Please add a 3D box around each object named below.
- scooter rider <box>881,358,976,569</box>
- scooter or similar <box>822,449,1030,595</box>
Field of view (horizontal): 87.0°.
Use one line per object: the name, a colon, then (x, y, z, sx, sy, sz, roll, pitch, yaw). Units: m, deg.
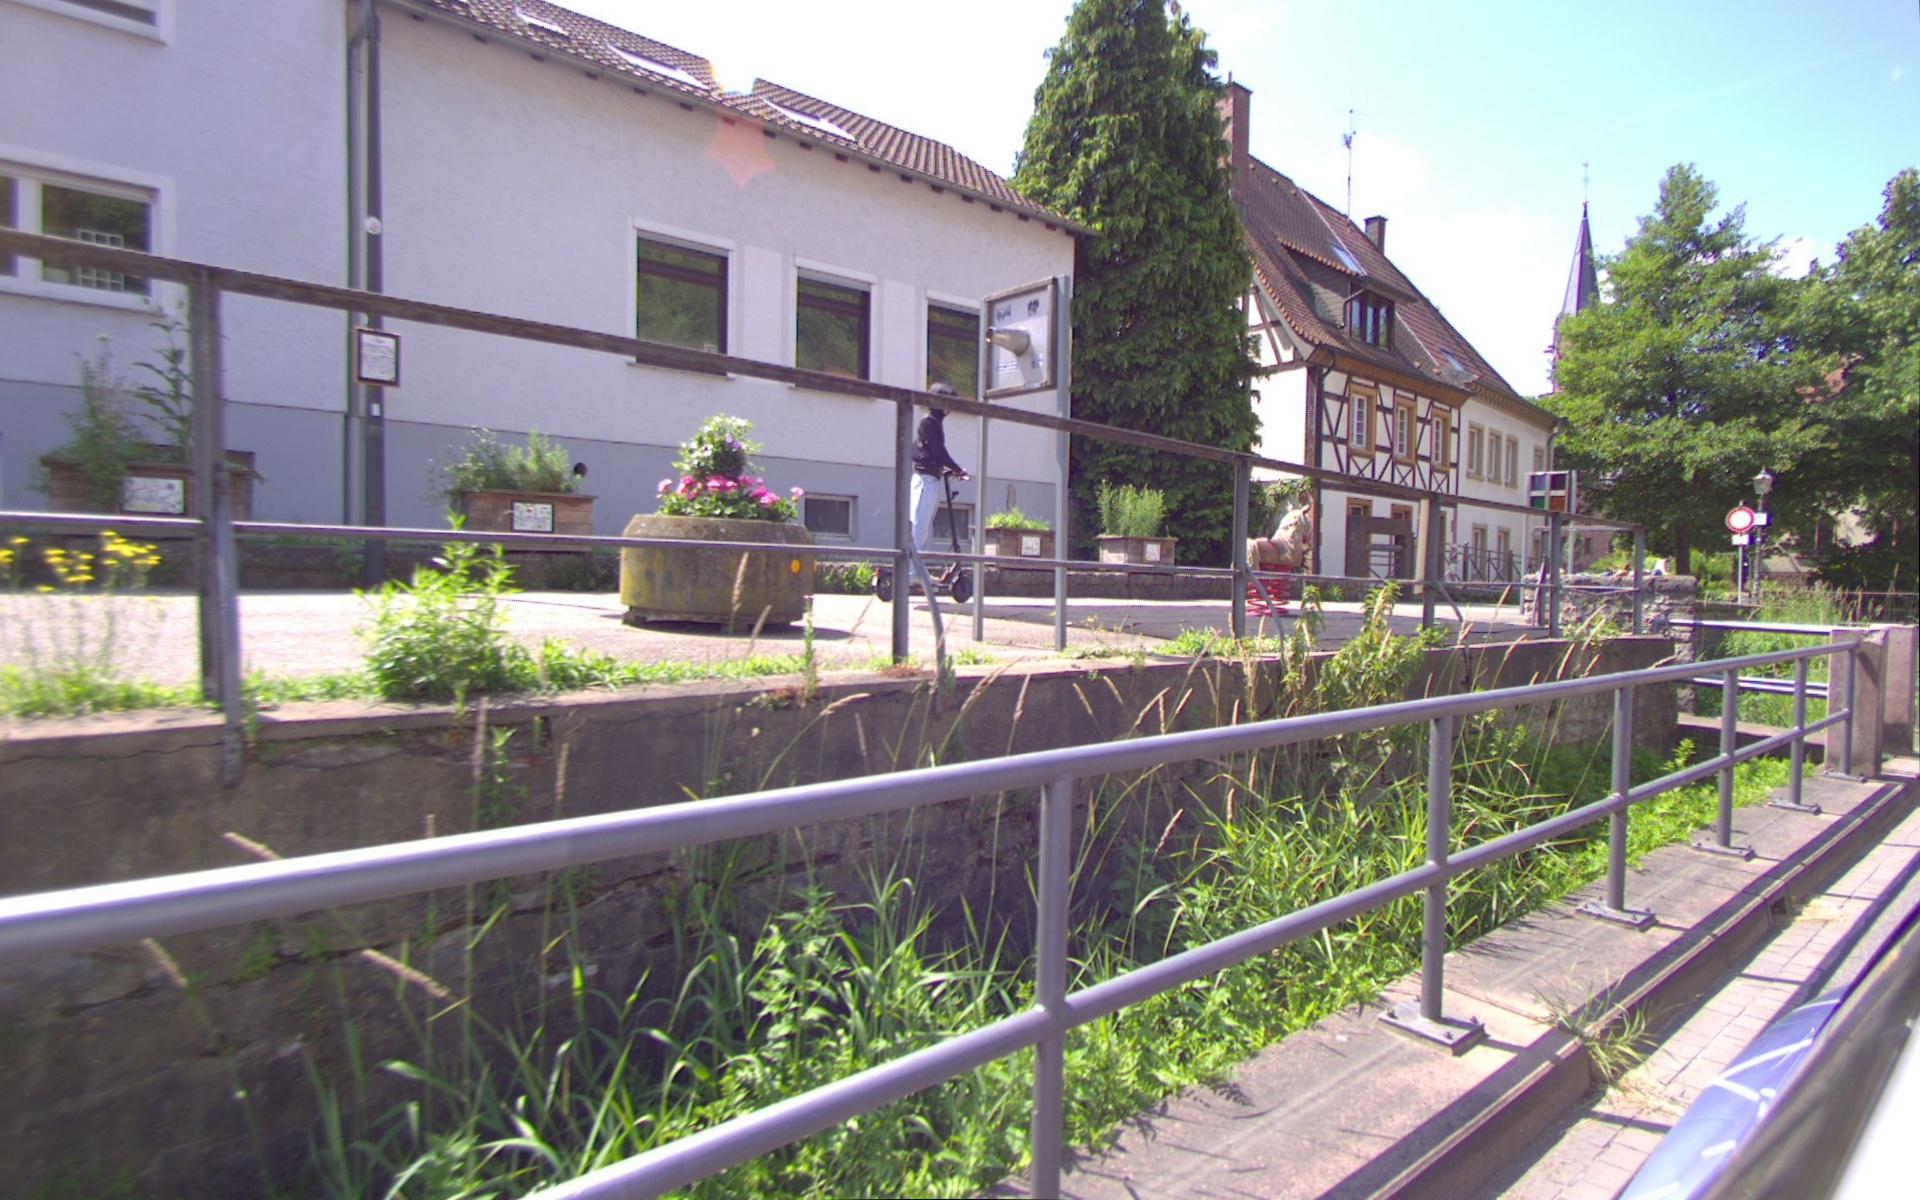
scooter rider: (-0.278, -1.148, 8.850, 0.544, 1.753, 0.643, 0, 1, -39)
scooter or similar: (-0.270, -0.649, 8.881, 1.779, 1.156, 0.643, -1, 3, -39)
